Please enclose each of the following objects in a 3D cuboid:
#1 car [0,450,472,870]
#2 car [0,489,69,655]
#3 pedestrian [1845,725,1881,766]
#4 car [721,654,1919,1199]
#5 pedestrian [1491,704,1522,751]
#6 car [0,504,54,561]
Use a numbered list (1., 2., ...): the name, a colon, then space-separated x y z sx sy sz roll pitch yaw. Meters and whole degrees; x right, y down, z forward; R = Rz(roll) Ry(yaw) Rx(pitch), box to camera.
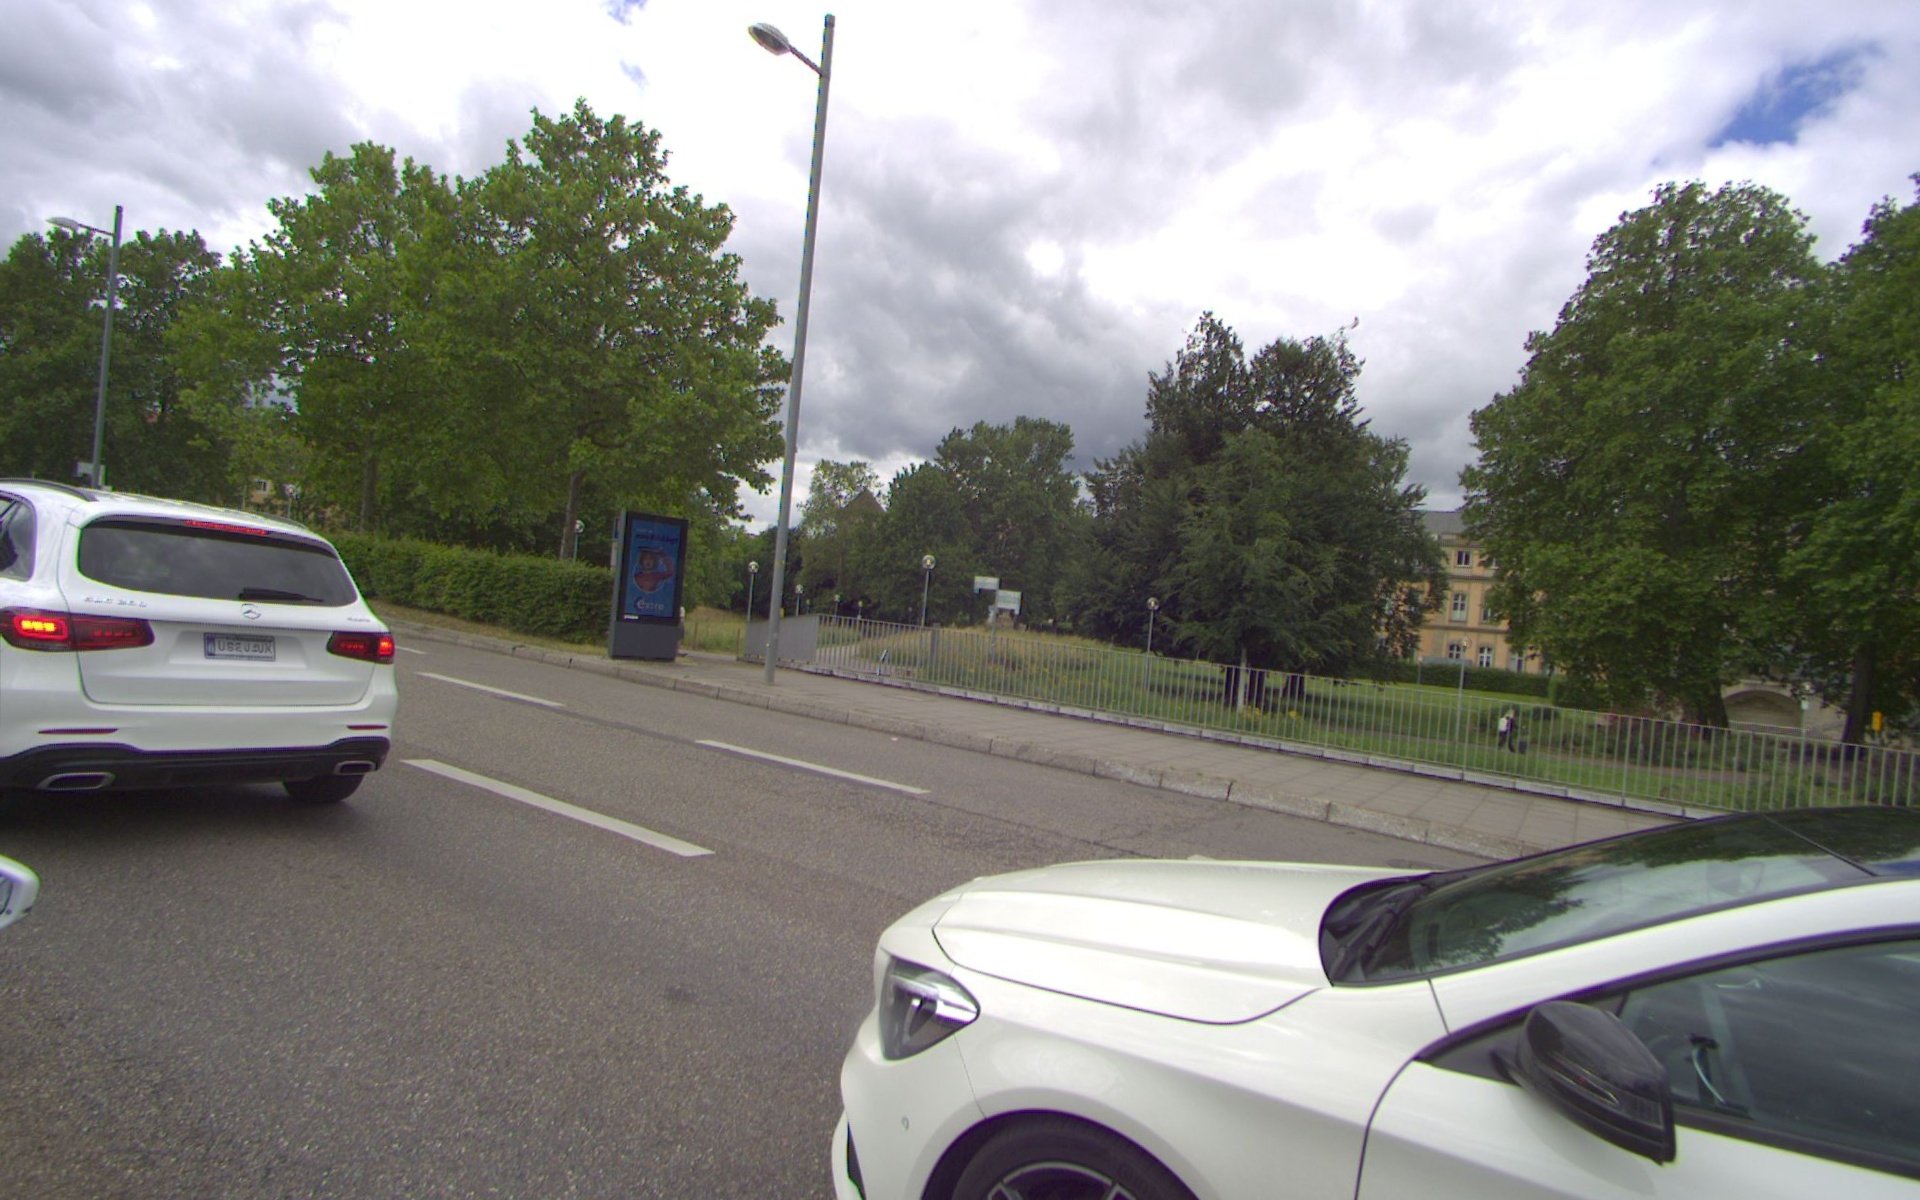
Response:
1. car: -5.146 0.117 5.962 4.416 1.673 1.929 7 -1 33
2. car: -11.331 -0.501 10.437 4.417 1.569 1.929 6 -2 33
3. pedestrian: 49.656 8.006 55.315 0.931 2.036 1.100 7 -2 -24
4. car: 1.839 1.092 1.833 4.454 1.436 1.796 5 -2 33
5. pedestrian: 20.328 4.741 37.403 0.645 1.619 0.684 6 -2 0
6. car: -29.210 -2.139 30.276 4.459 1.476 1.933 5 -3 37
